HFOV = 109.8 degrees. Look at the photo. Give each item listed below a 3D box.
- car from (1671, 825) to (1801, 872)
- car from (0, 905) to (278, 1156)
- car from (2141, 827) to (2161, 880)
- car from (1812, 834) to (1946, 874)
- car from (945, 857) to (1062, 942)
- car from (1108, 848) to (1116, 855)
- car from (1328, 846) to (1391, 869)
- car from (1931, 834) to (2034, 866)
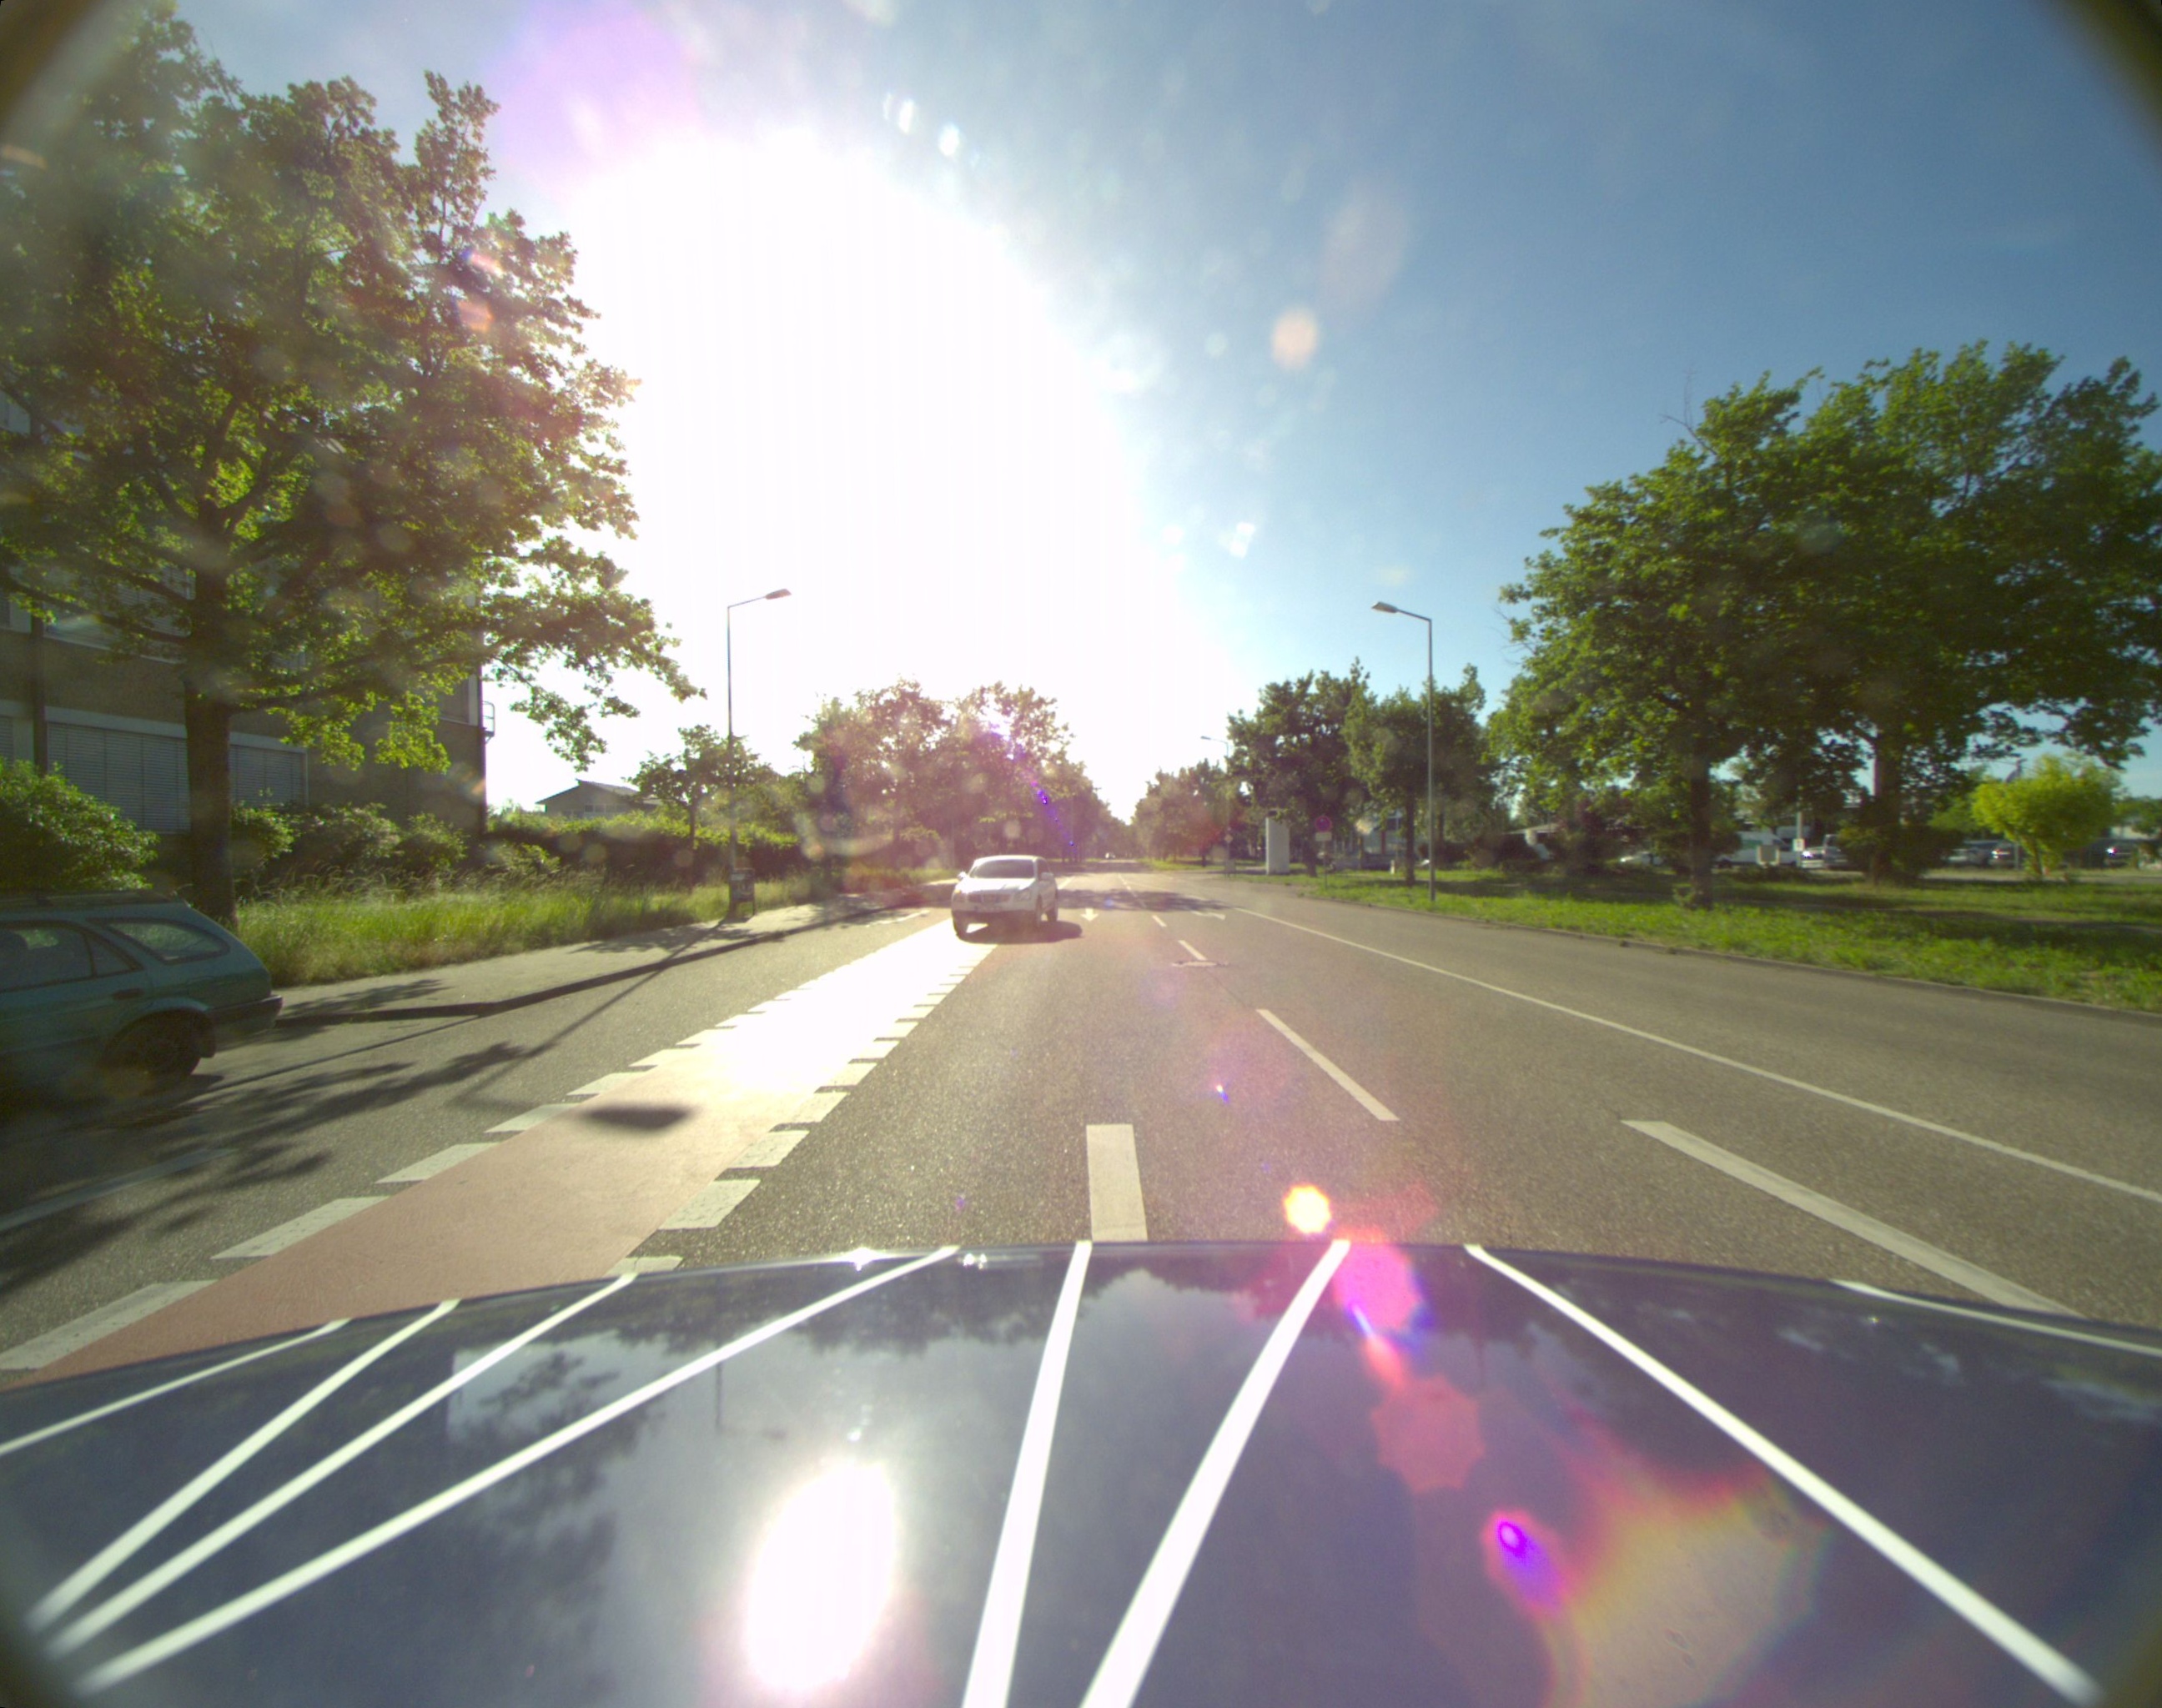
[{"bbox_3d":[39.910,-0.347,46.392,6.023,2.540,2.409,-2,1,-4],"label":"car"},{"bbox_3d":[-7.520,1.132,4.220,1.706,1.460,4.141,-1,-1,0],"label":"car"},{"bbox_3d":[33.895,-0.093,22.034,3.817,1.562,1.736,-2,-1,0],"label":"car"},{"bbox_3d":[40.070,-0.014,38.215,4.642,1.771,1.990,-2,1,0],"label":"car"},{"bbox_3d":[-1.569,0.899,16.883,1.721,1.598,4.069,-2,0,7],"label":"car"},{"bbox_3d":[6.261,-0.503,155.312,1.653,1.460,3.941,-1,0,2],"label":"car"},{"bbox_3d":[23.941,0.292,65.366,4.637,1.822,2.000,-2,1,0],"label":"car"},{"bbox_3d":[52.098,-0.218,43.952,3.860,1.661,1.762,-2,1,0],"label":"car"}]
